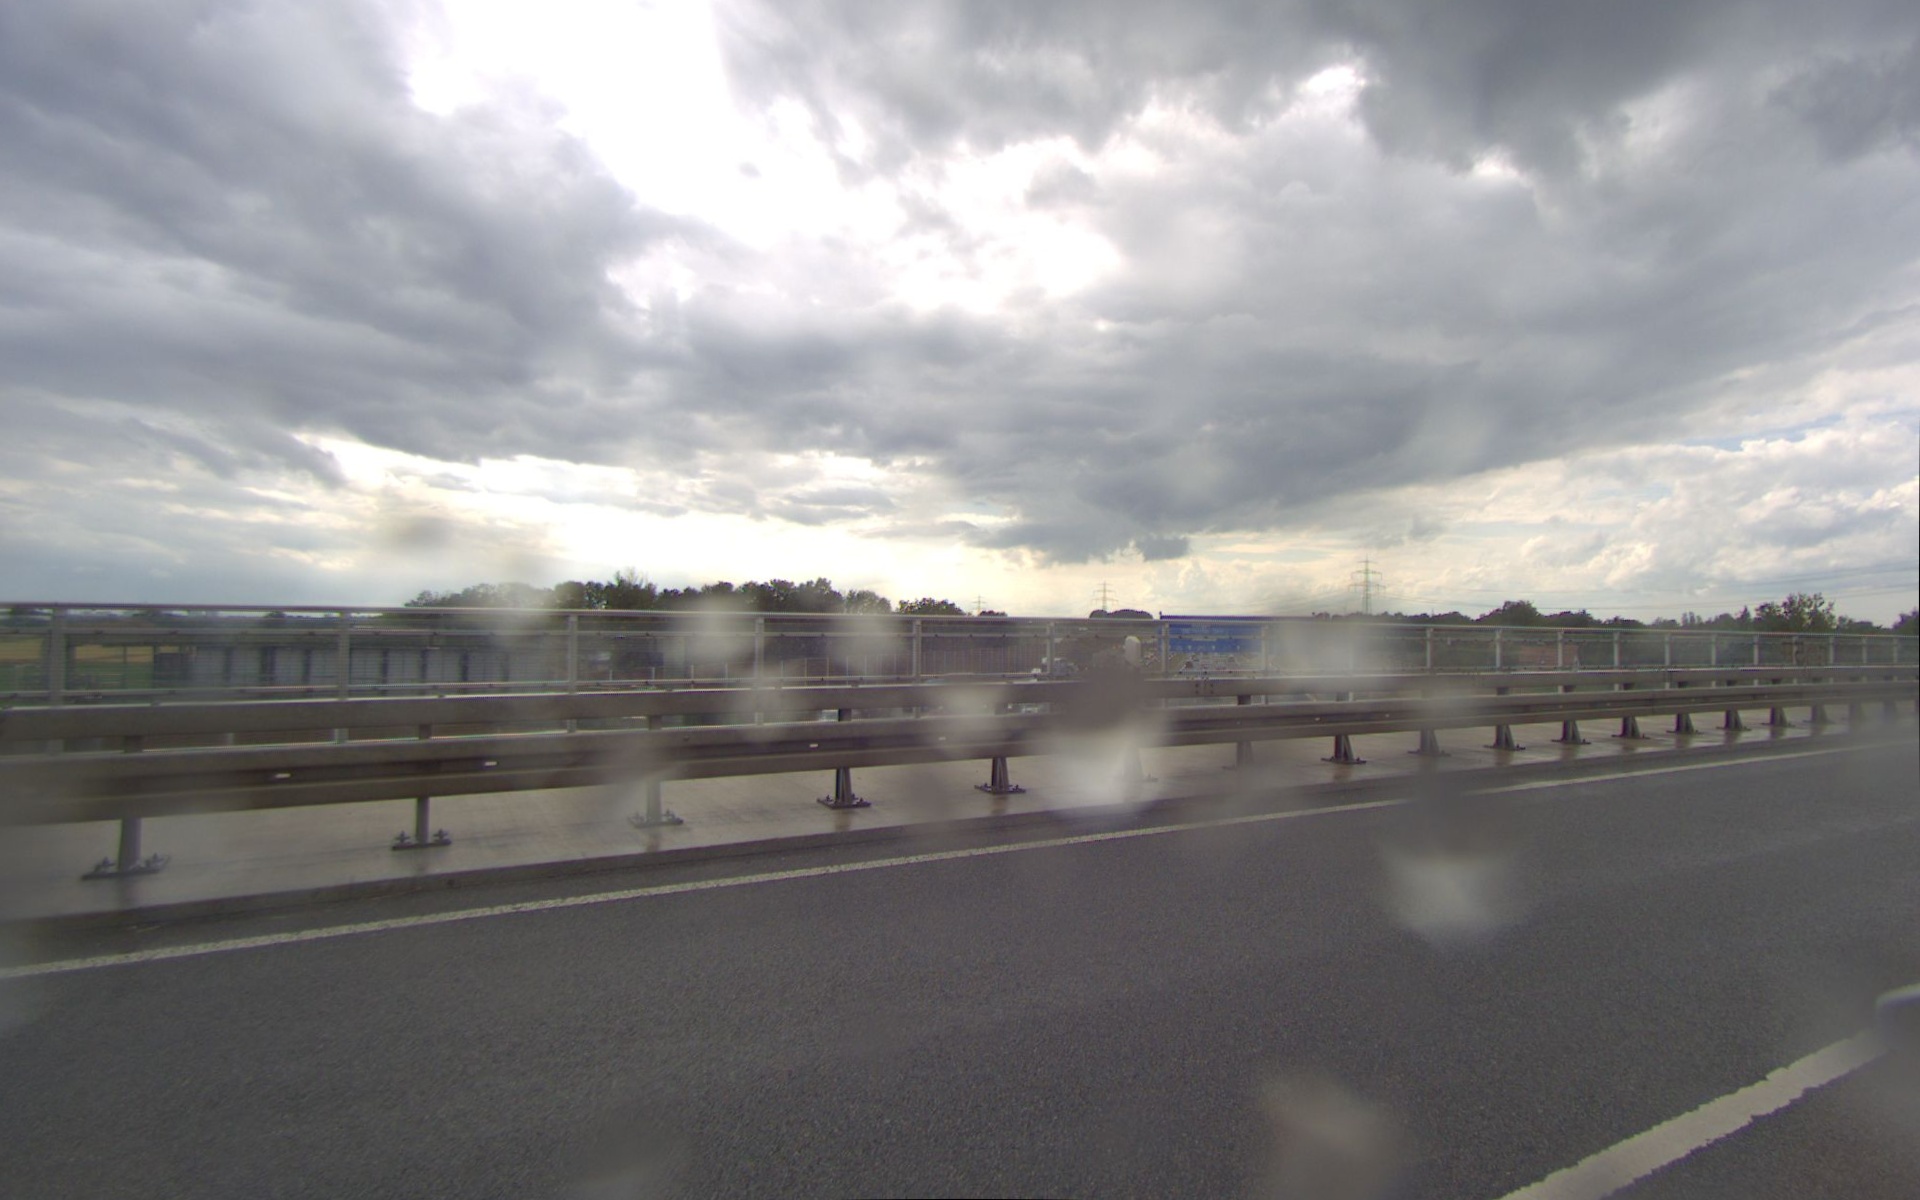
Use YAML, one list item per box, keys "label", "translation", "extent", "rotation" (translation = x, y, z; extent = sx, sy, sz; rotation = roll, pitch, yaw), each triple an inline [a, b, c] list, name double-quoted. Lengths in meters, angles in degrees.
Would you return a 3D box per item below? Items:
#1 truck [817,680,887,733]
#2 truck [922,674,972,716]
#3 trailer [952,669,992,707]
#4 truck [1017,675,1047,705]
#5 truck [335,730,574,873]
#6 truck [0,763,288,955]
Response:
- label: "truck"
  translation: [-10.014, 9.885, 94.561]
  extent: [2.388, 3.812, 11.173]
  rotation: [2, 0, 16]
- label: "truck"
  translation: [-1.380, 10.712, 114.606]
  extent: [2.388, 3.812, 11.173]
  rotation: [2, 0, 16]
- label: "trailer"
  translation: [1.568, 10.782, 124.485]
  extent: [2.388, 3.812, 9.461]
  rotation: [2, 0, 16]
- label: "truck"
  translation: [11.661, 14.315, 160.770]
  extent: [2.388, 3.812, 11.173]
  rotation: [2, 0, 16]
- label: "truck"
  translation: [-21.732, 8.484, 44.388]
  extent: [2.388, 4.055, 11.173]
  rotation: [2, 0, 16]
- label: "truck"
  translation: [-27.836, 8.205, 32.465]
  extent: [2.388, 4.055, 11.173]
  rotation: [2, 0, 16]
